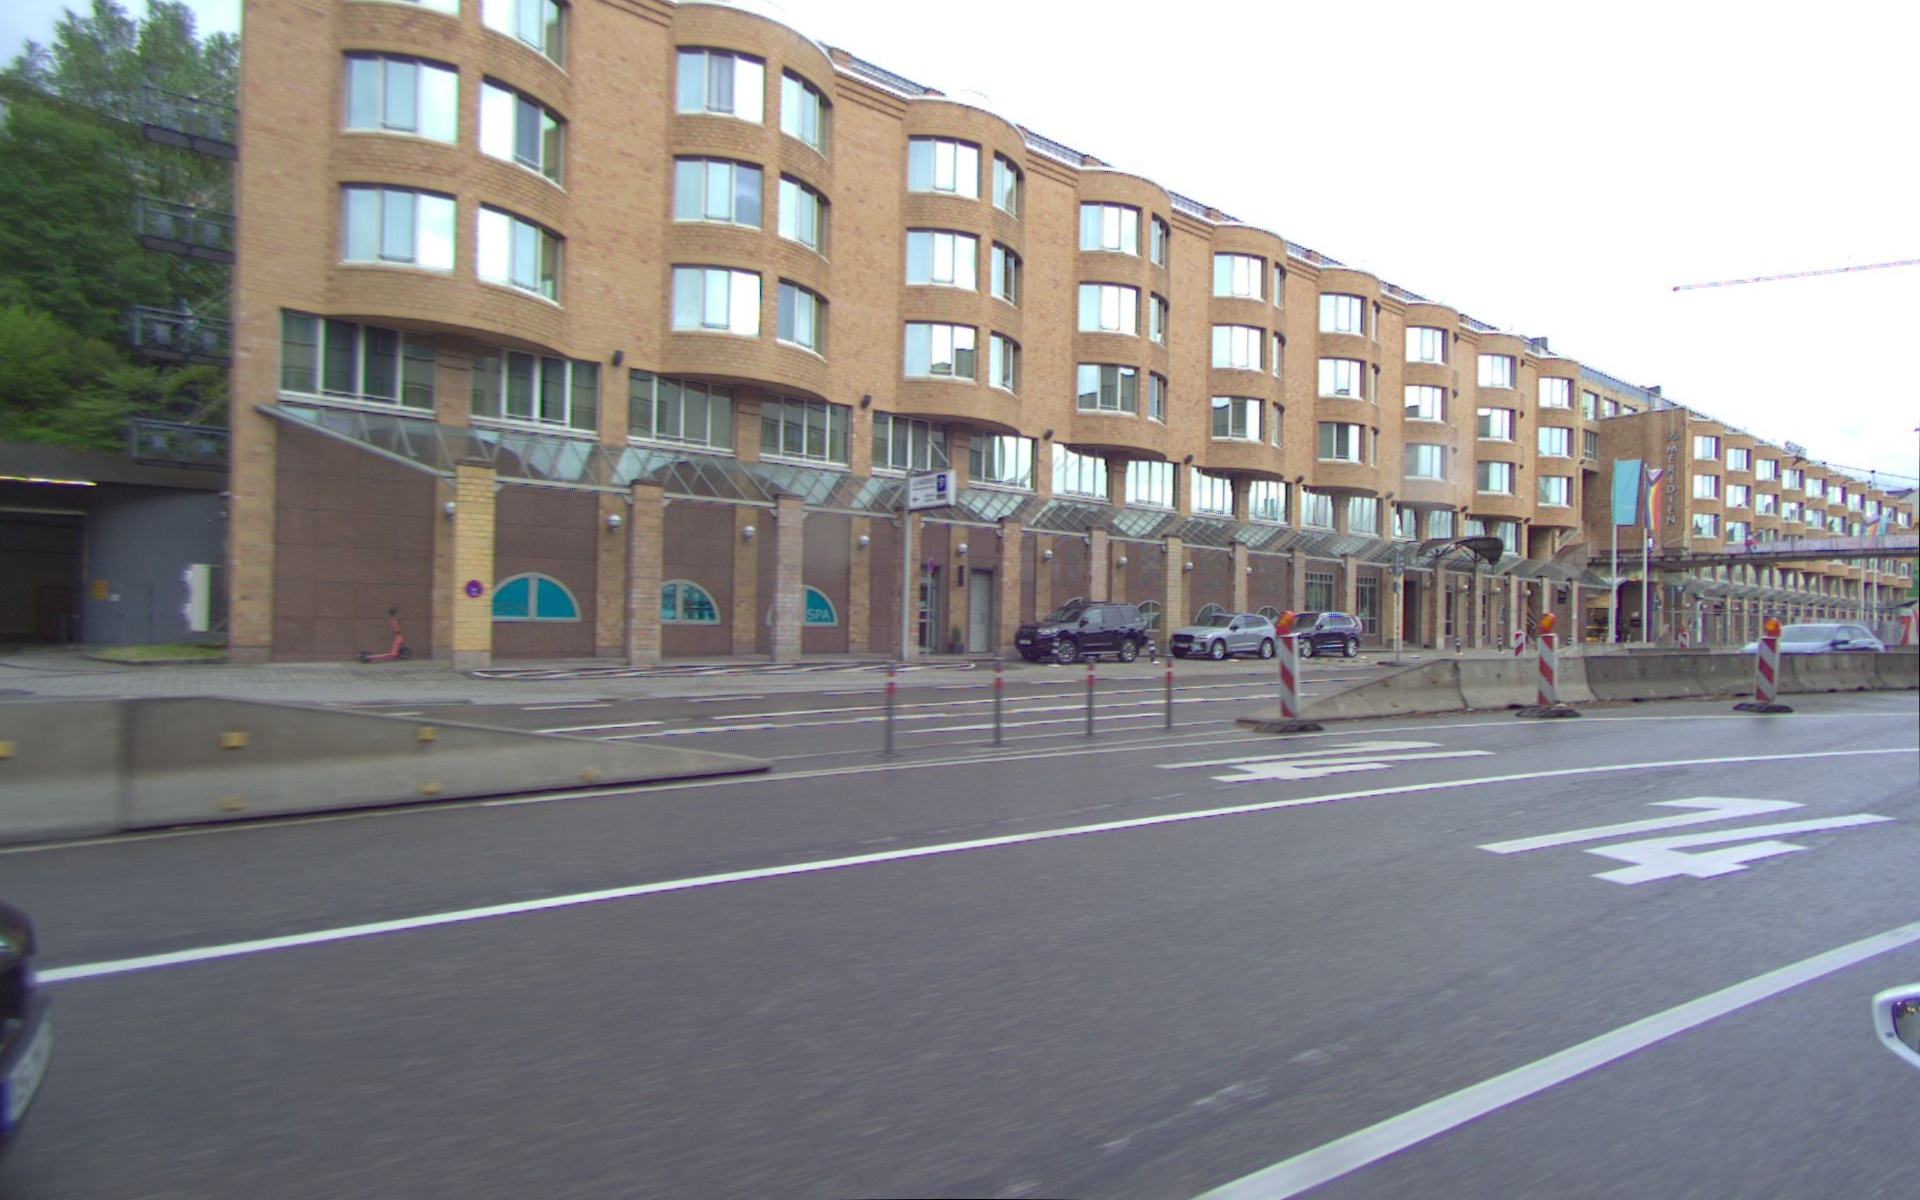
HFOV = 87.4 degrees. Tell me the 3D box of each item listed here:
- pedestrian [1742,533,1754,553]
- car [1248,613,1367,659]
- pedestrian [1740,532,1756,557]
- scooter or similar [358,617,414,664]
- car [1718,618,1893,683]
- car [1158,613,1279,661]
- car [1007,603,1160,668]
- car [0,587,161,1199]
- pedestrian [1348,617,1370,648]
[{"bbox_3d":[50.407,-3.659,64.239,0.479,1.210,0.472,1,-2,-33],"label":"pedestrian"},{"bbox_3d":[13.864,1.402,39.928,5.000,1.713,1.980,1,-1,-36],"label":"car"},{"bbox_3d":[50.426,-3.548,64.259,0.612,1.471,0.617,1,-2,-33],"label":"pedestrian"},{"bbox_3d":[-13.379,0.939,23.410,0.444,1.077,1.039,0,-1,42],"label":"scooter or similar"},{"bbox_3d":[21.063,1.217,25.012,4.176,1.478,1.985,1,-1,-29],"label":"car"},{"bbox_3d":[9.419,1.306,36.457,4.501,1.615,1.977,1,-1,-39],"label":"car"},{"bbox_3d":[3.994,1.078,31.920,4.971,1.911,1.977,1,-1,-39],"label":"car"},{"bbox_3d":[-3.837,0.678,1.012,4.610,1.462,1.756,1,-1,-35],"label":"car"},{"bbox_3d":[18.875,1.536,47.518,0.729,1.471,0.613,1,-2,-34],"label":"pedestrian"}]
